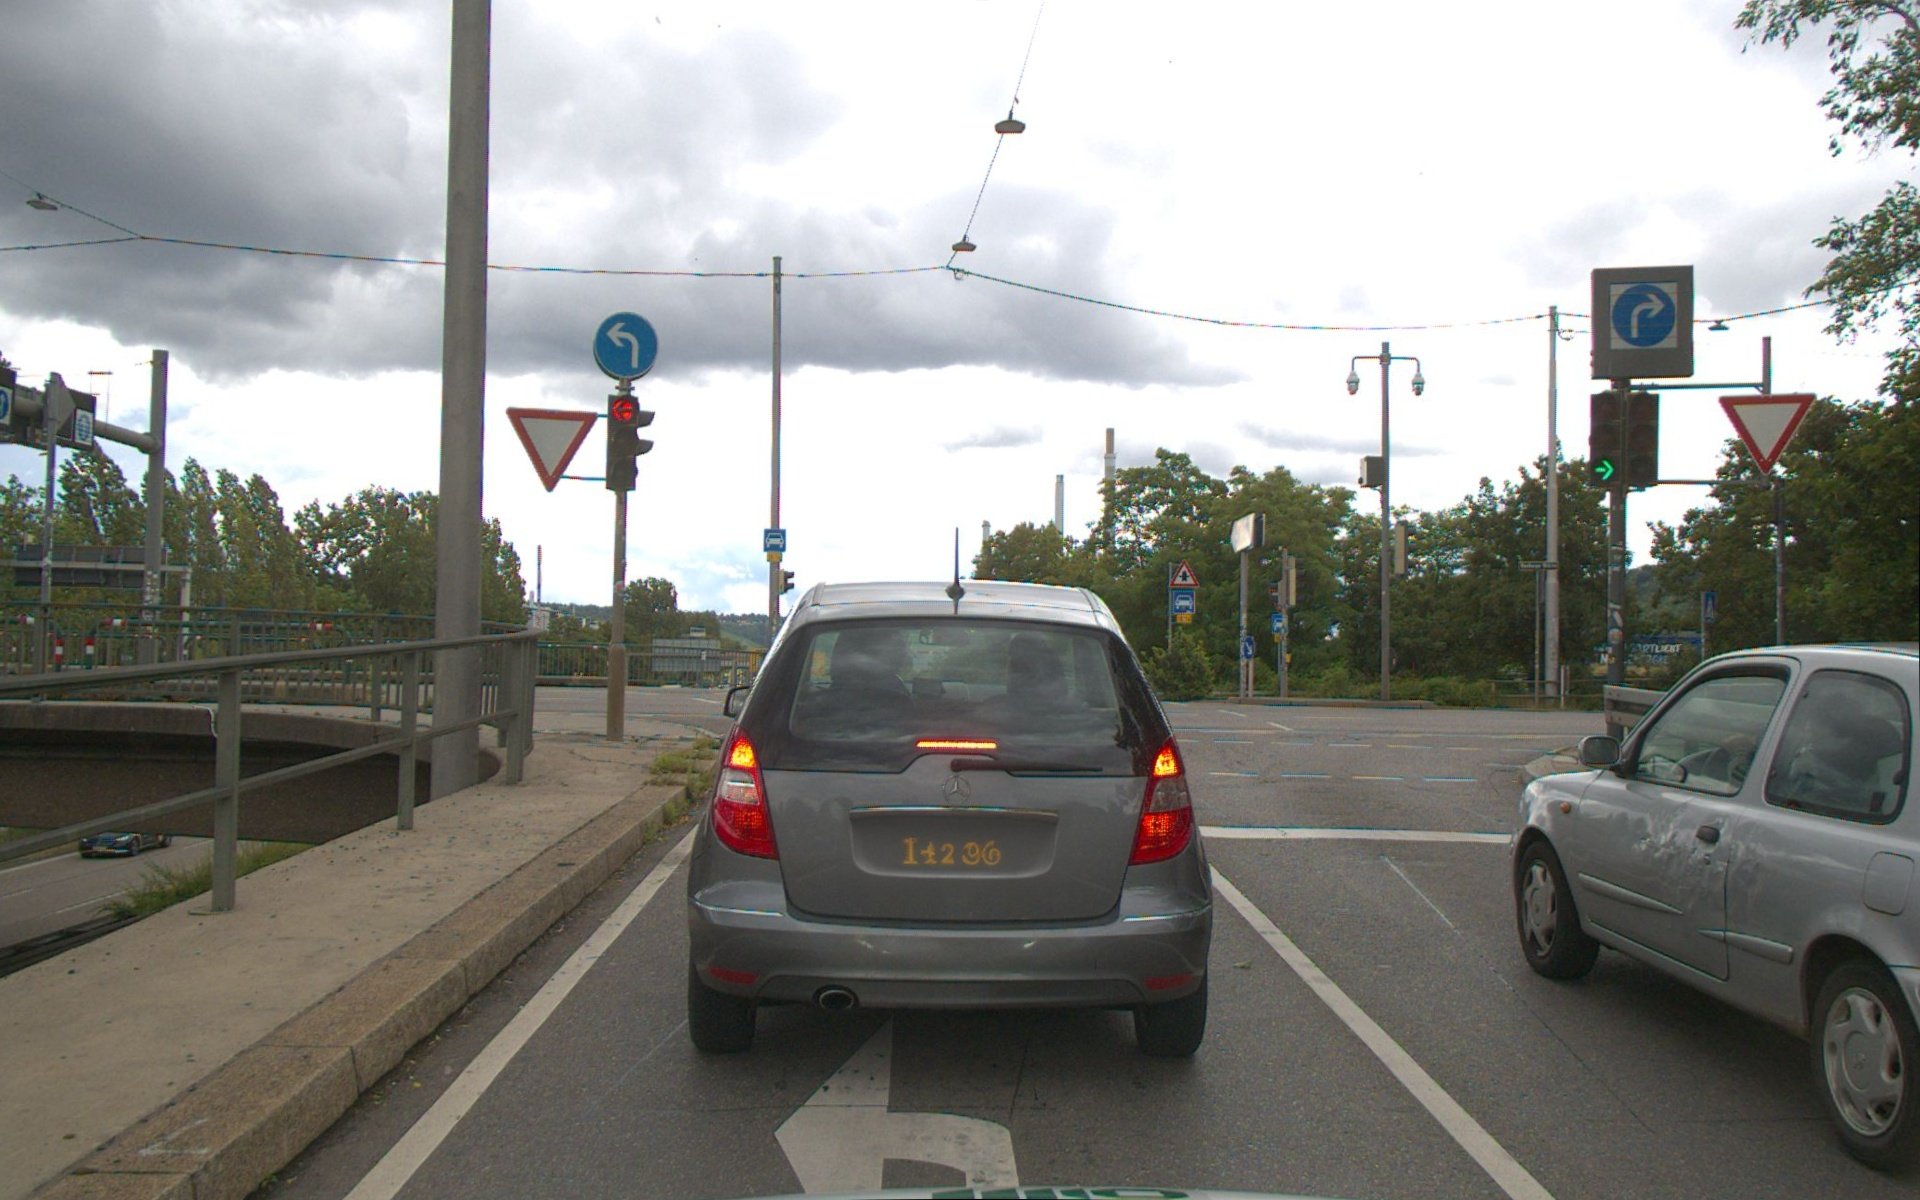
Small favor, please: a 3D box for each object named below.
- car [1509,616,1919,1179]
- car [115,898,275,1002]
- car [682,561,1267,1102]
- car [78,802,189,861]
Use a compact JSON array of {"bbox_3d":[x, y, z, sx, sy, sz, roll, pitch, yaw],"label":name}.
[{"bbox_3d":[3.268,0.803,5.646,1.553,1.457,3.441,0,0,-2],"label":"car"},{"bbox_3d":[-16.076,7.344,34.945,1.657,1.560,3.608,0,-2,0],"label":"car"},{"bbox_3d":[0.027,0.690,6.647,1.704,1.570,3.540,1,0,-1],"label":"car"},{"bbox_3d":[-30.594,8.549,61.387,1.822,1.681,4.632,-1,-3,-1],"label":"car"}]
